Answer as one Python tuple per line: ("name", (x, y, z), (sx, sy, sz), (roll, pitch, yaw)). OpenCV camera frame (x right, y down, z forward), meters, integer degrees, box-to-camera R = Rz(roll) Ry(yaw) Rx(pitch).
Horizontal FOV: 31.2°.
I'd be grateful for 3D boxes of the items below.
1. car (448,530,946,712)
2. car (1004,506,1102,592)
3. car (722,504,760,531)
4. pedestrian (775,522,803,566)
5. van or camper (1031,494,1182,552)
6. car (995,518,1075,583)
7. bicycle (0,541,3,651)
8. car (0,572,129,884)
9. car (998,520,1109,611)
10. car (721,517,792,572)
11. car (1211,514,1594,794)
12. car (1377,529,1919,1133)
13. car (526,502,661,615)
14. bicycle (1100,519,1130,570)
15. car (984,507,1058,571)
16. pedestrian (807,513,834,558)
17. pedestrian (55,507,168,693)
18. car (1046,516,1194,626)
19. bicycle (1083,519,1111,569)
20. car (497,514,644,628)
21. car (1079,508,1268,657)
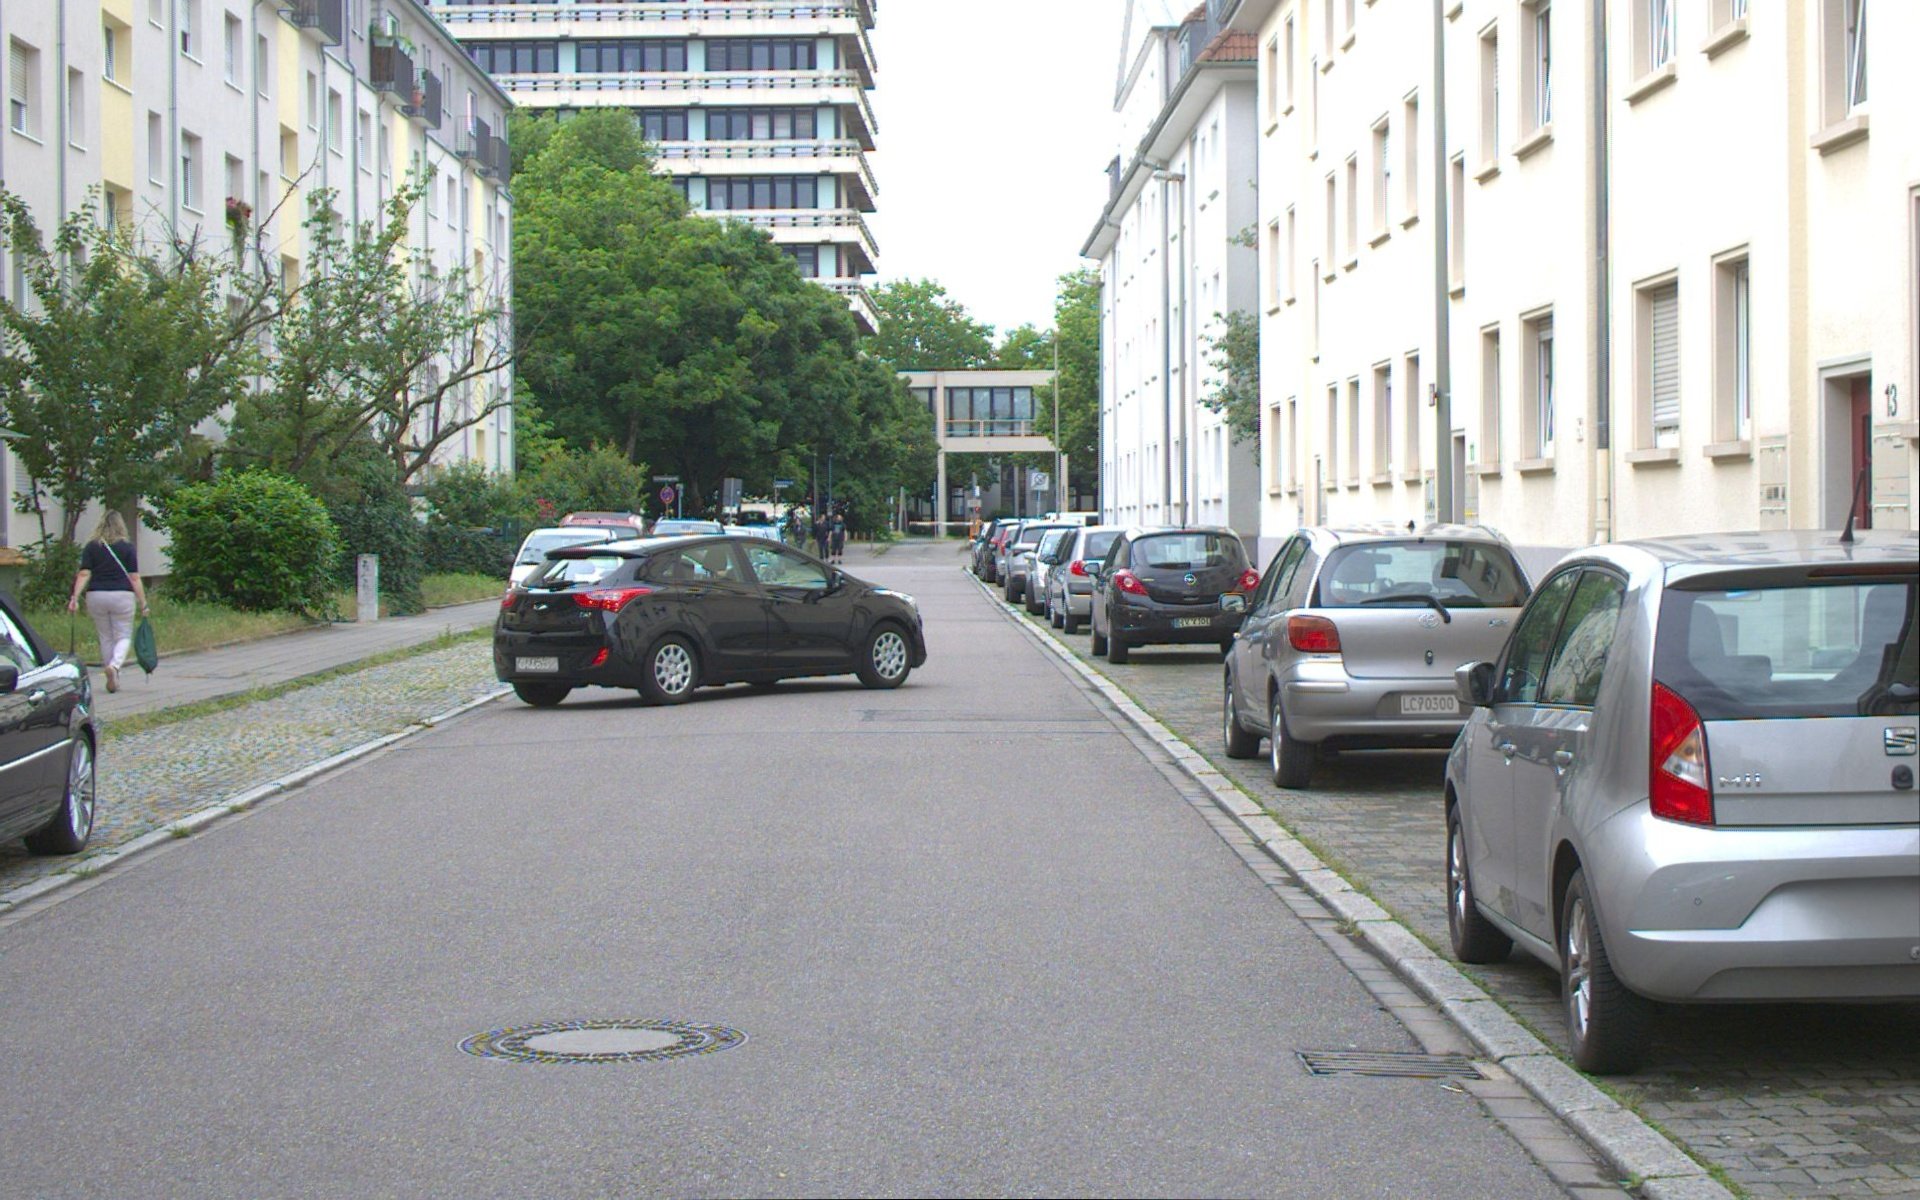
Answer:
("car", (-2.250, 0.135, 30.301), (1.908, 1.428, 4.223), (0, 2, 42))
("car", (1.800, -1.023, 67.487), (1.820, 1.636, 4.091), (0, 1, 0))
("car", (-10.799, -4.082, 169.761), (1.665, 1.328, 3.396), (0, 2, -1))
("pedestrian", (-6.418, -2.111, 129.119), (0.972, 1.648, 0.981), (-1, 1, -1))
("van or camper", (5.225, -2.763, 123.188), (5.171, 2.007, 2.000), (-1, 1, -4))
("car", (1.793, -1.208, 83.321), (1.820, 1.498, 4.091), (-1, 1, 0))
("bicycle", (-11.017, -0.030, 35.684), (2.022, 1.137, 0.623), (-1, 1, -10))
("car", (-5.161, 0.564, 15.557), (1.870, 1.319, 4.362), (1, 1, -2))
("car", (1.557, -0.623, 58.590), (1.725, 1.471, 4.505), (0, 1, 0))
("car", (-5.859, -1.611, 99.288), (1.993, 1.535, 4.001), (0, 1, -3))
("car", (2.583, 0.249, 20.940), (1.725, 1.512, 4.061), (-1, 1, -1))
("car", (2.465, 0.550, 10.826), (1.725, 1.487, 4.061), (-1, 2, -1))
("car", (-5.938, -0.707, 56.118), (1.956, 1.764, 4.362), (0, 1, -3))
("bicycle", (3.697, -1.336, 81.892), (0.576, 1.171, 2.036), (-1, 1, 5))
("car", (1.541, -1.592, 88.574), (1.820, 1.597, 4.091), (-1, 1, 0))
("pedestrian", (-5.215, -2.428, 128.755), (0.972, 1.648, 0.981), (-1, 1, -1))
("pedestrian", (-7.493, -0.013, 30.378), (0.799, 1.604, 0.947), (-1, 1, -5))
("car", (2.194, -0.435, 48.102), (1.848, 1.445, 3.833), (0, 2, -1))
("bicycle", (3.263, -1.340, 81.926), (0.530, 1.171, 2.036), (-1, 1, 5))
("car", (-5.648, -0.458, 50.245), (1.720, 1.564, 3.871), (1, 1, -1))
("car", (2.286, -0.234, 37.663), (1.725, 1.512, 4.061), (-1, 1, -1))
